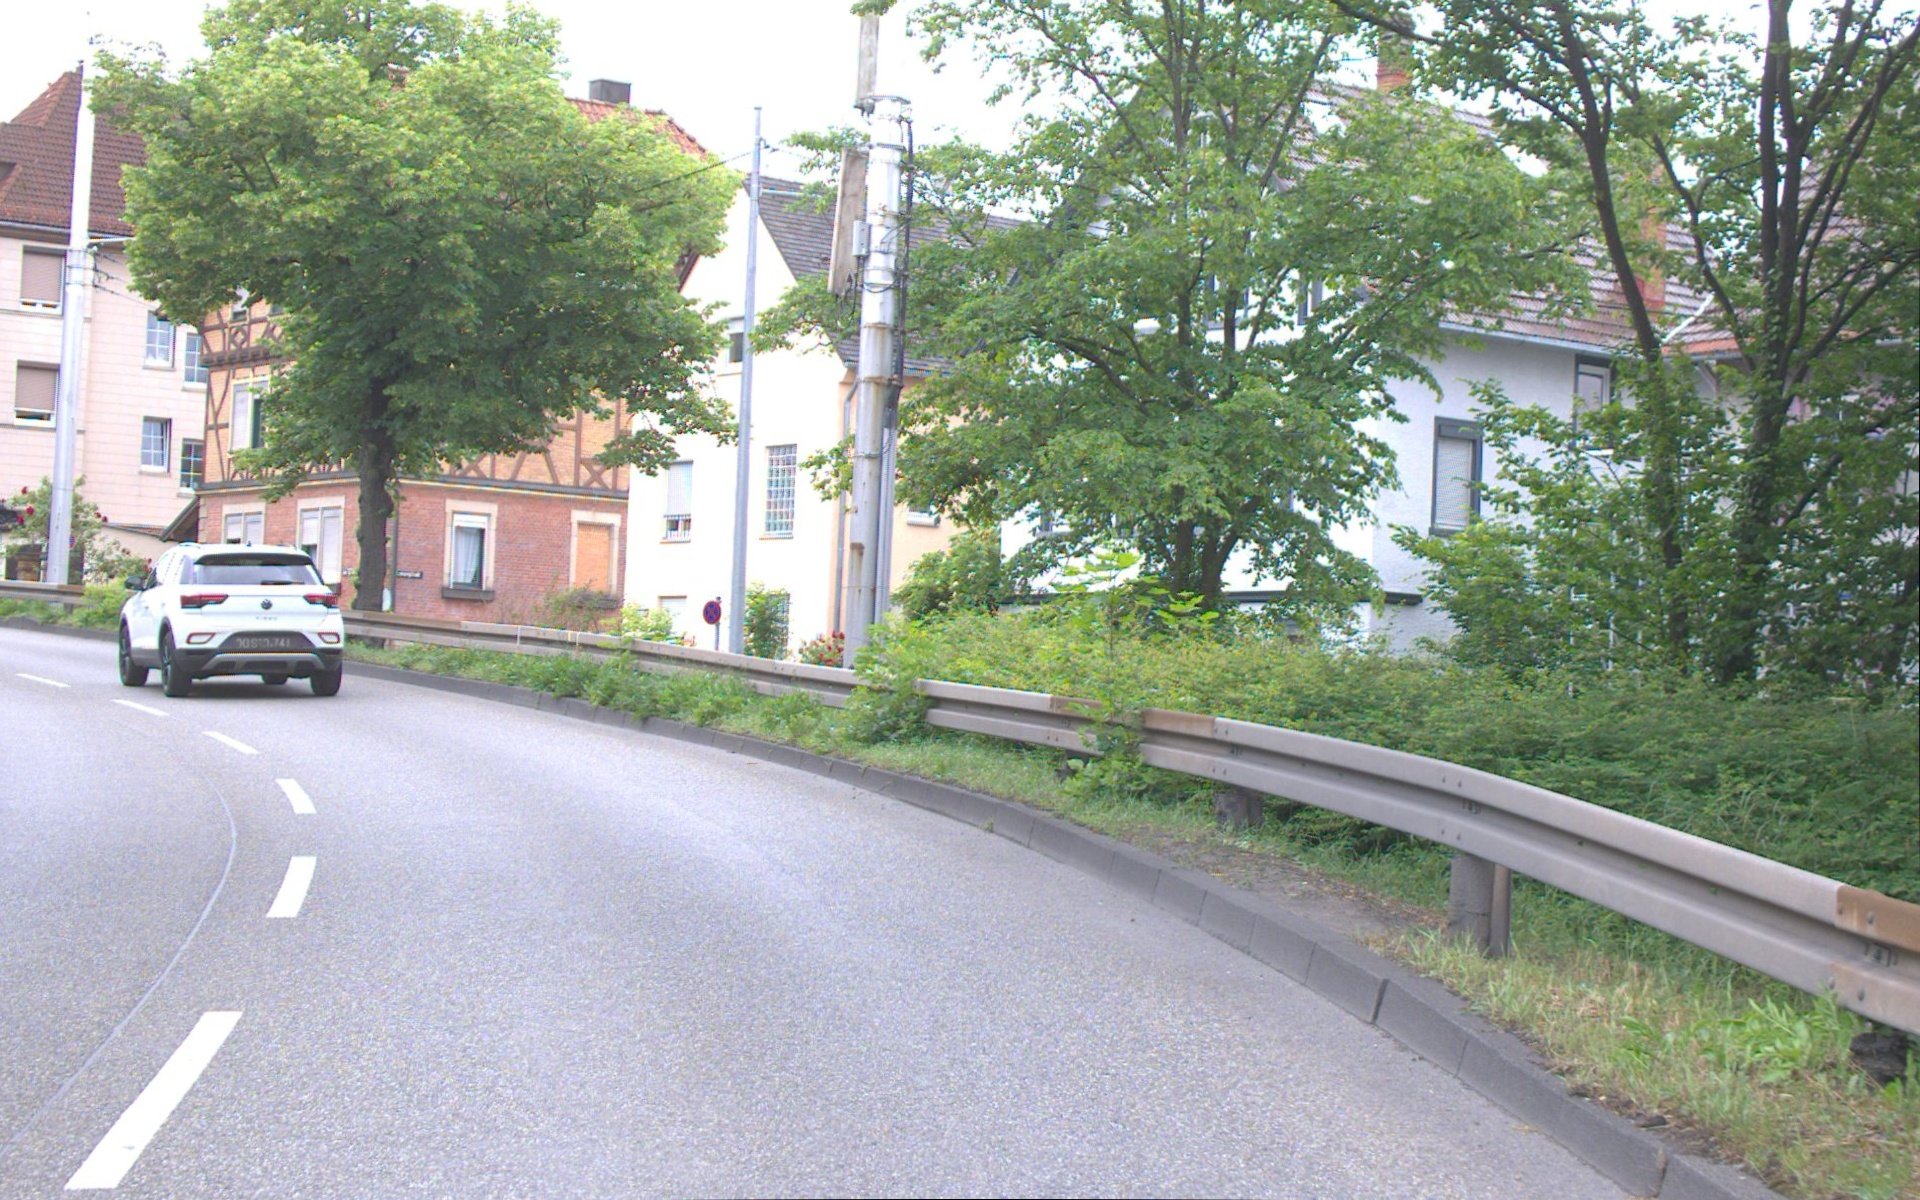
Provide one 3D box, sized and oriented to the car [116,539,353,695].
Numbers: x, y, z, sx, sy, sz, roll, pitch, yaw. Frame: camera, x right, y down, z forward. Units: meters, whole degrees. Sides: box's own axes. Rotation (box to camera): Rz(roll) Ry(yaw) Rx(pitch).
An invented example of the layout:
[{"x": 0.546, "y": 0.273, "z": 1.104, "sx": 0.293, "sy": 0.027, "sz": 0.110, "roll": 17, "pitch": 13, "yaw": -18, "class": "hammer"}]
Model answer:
[{"x": -7.645, "y": 0.145, "z": 36.023, "sx": 1.796, "sy": 1.514, "sz": 3.457, "roll": 1, "pitch": 1, "yaw": -23, "class": "car"}]
